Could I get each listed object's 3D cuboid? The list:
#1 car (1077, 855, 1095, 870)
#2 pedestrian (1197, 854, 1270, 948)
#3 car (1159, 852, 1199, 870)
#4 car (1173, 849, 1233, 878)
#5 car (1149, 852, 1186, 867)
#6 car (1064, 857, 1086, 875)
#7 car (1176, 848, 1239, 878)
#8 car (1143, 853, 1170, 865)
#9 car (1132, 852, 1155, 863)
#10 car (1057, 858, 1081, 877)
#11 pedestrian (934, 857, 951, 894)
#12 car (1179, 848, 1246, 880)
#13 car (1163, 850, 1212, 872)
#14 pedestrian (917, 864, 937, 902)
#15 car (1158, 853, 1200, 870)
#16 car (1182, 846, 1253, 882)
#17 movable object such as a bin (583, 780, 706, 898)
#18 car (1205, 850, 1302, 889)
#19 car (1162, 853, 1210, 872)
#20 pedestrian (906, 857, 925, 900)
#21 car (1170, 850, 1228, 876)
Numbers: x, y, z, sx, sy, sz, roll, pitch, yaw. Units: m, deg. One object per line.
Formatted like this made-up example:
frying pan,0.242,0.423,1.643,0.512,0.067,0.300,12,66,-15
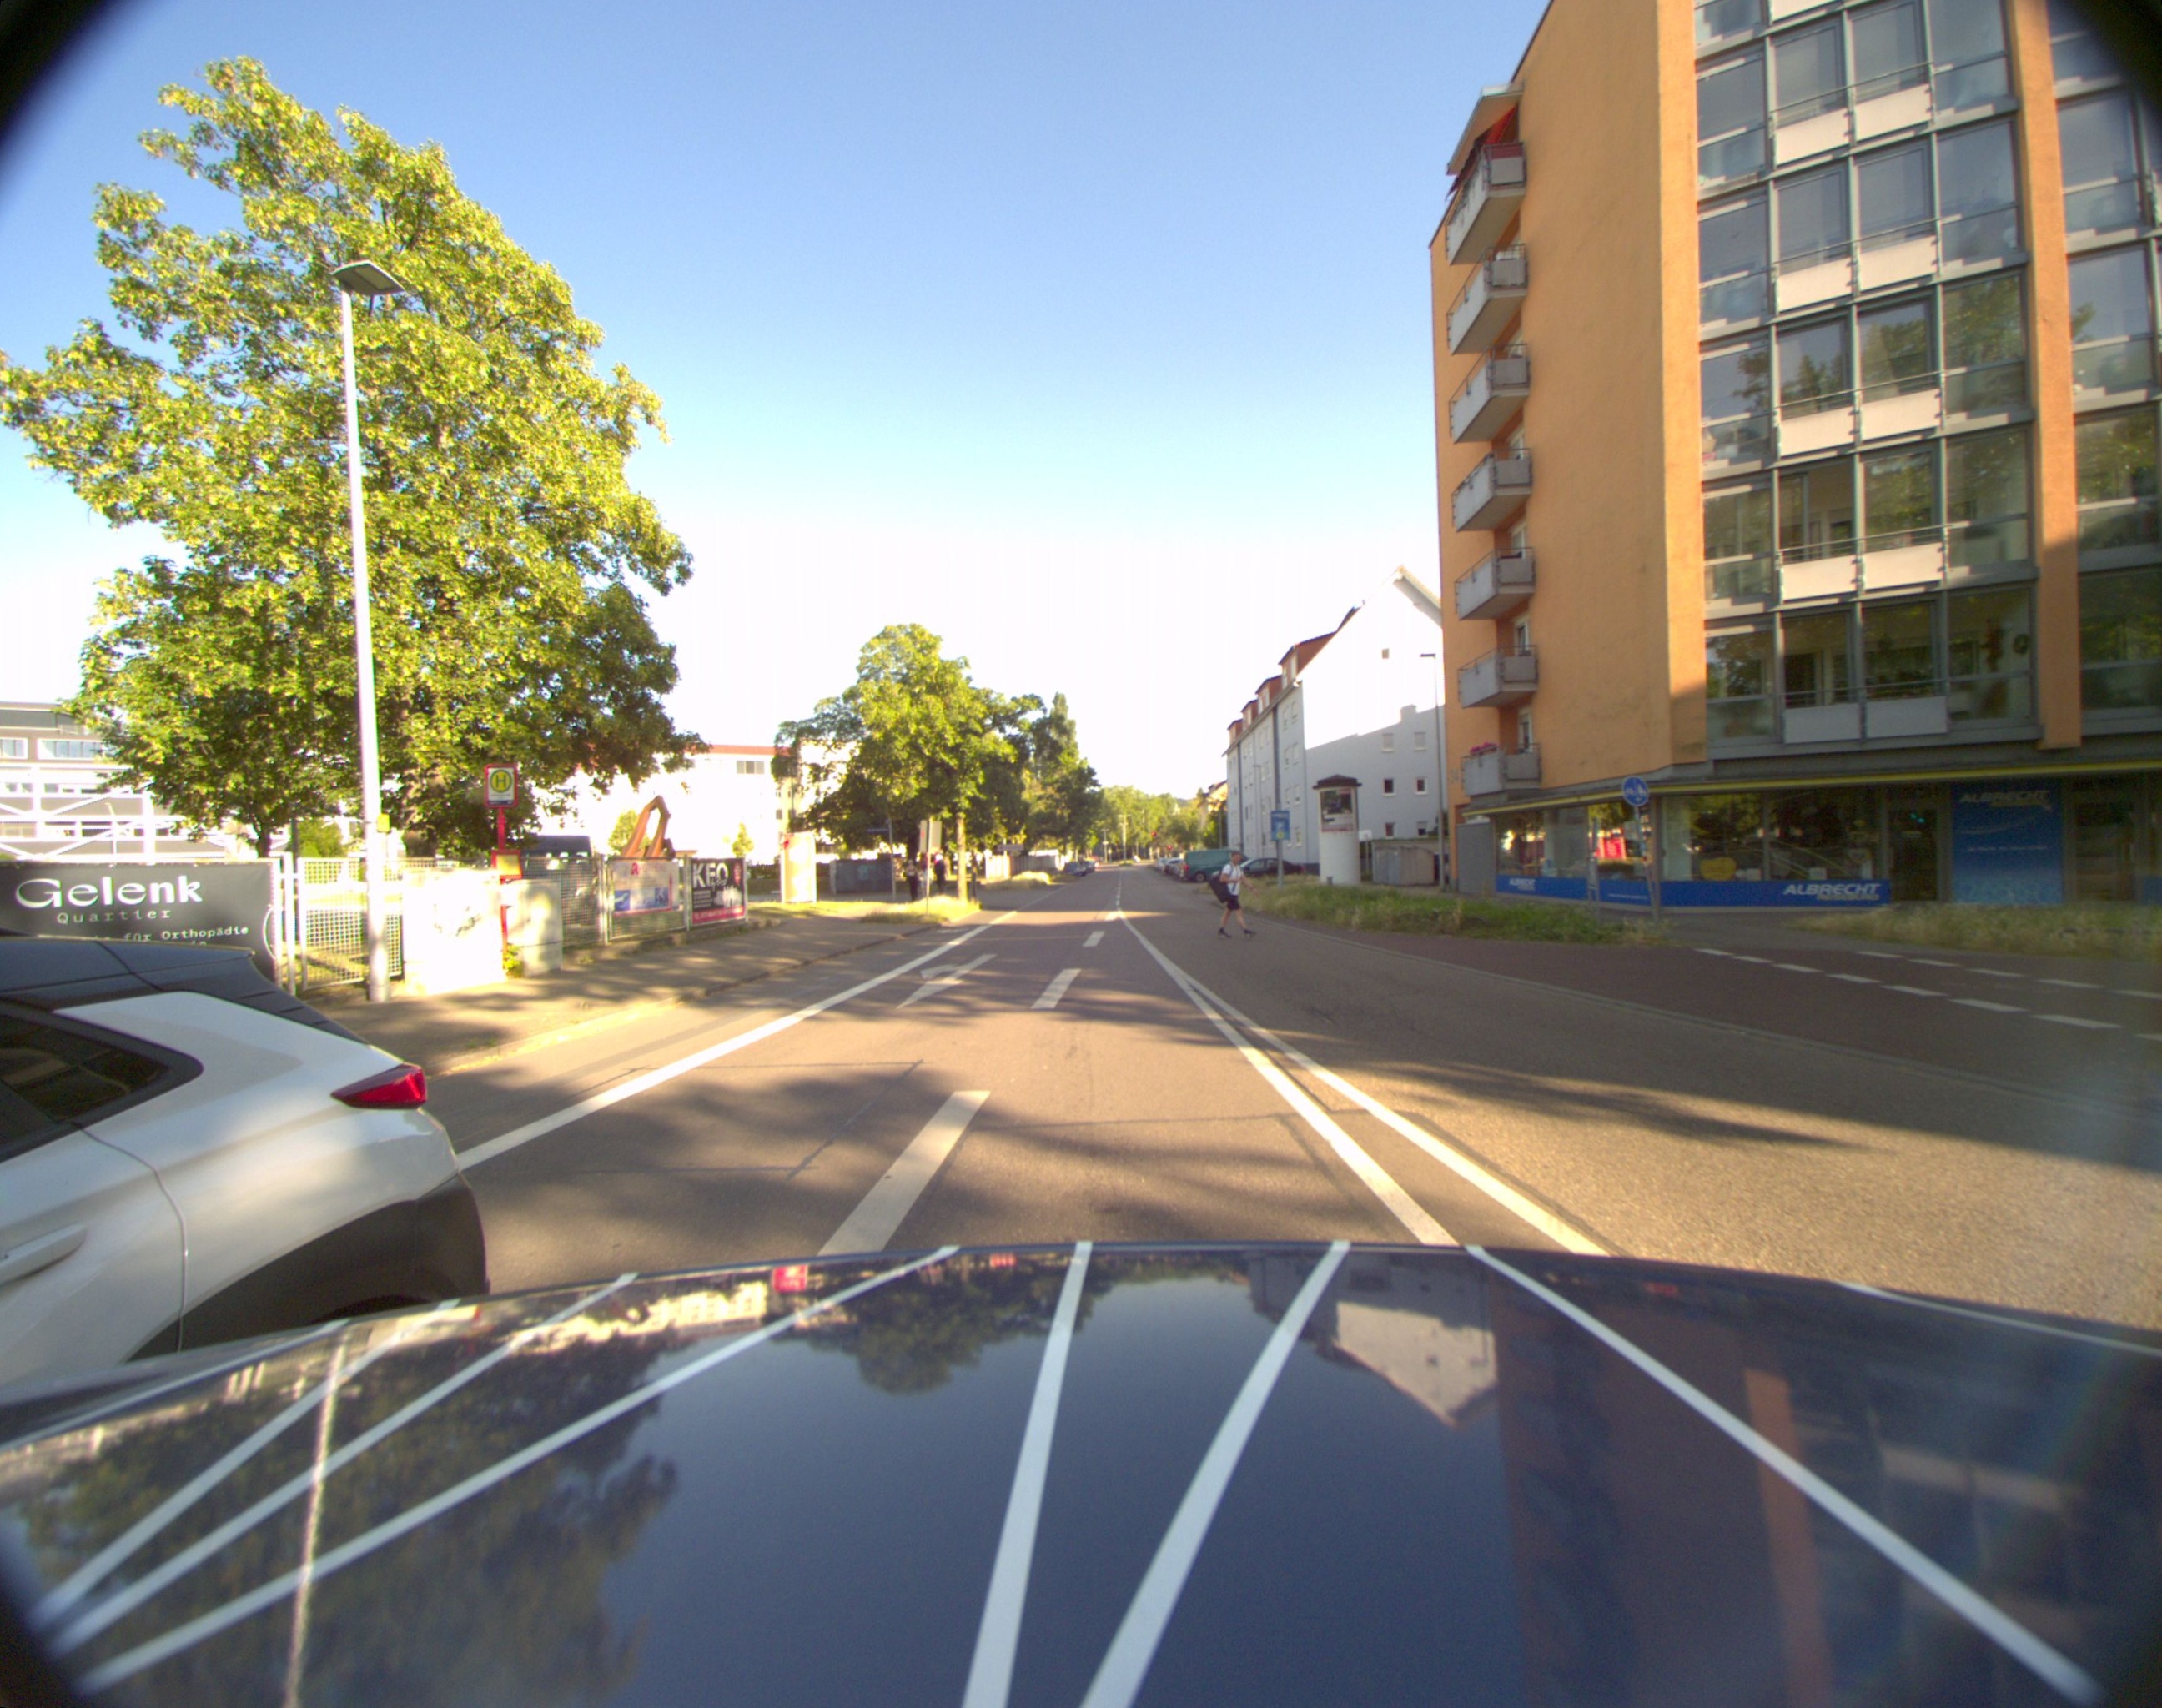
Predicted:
car,0.567,0.950,87.979,1.998,1.521,3.999,-2,1,1
pedestrian,2.954,0.873,14.798,0.903,1.727,1.086,-3,1,-21
car,10.257,0.724,80.068,4.071,1.741,1.899,-2,1,5
car,8.568,0.667,53.695,4.059,1.805,1.937,-2,1,5
car,10.221,0.644,90.192,4.257,1.564,1.867,-2,1,5
car,-0.589,1.150,73.946,1.998,1.521,3.999,-2,1,1
car,8.497,0.587,51.345,3.995,1.805,2.000,-2,1,5
car,10.465,0.702,105.244,3.538,1.564,1.867,-2,1,5
car,9.701,0.587,118.224,3.538,1.564,1.867,-2,1,5
car,-1.092,1.218,69.598,1.998,1.521,3.999,-2,1,1
pedestrian,-6.357,0.975,34.869,0.696,1.659,0.638,-2,1,-11
car,8.353,0.623,48.589,3.995,1.805,2.000,-2,1,5
car,9.272,0.607,66.489,4.117,1.762,1.757,-2,1,5
pedestrian,-6.132,1.151,30.326,0.609,1.426,0.639,-2,1,1
car,10.305,0.755,79.933,4.257,1.564,1.867,-2,1,5
car,8.191,0.593,45.941,3.996,1.936,2.000,-2,1,4
movable object such as a bin,-22.232,-0.701,38.552,3.986,5.447,6.016,-3,1,-42
car,8.294,0.731,36.876,4.423,1.652,2.001,-2,1,9
car,9.565,0.772,69.376,4.257,1.564,1.867,-2,1,5
pedestrian,-6.801,1.011,31.199,0.609,1.727,0.638,-2,1,-5
car,8.745,0.662,56.439,4.071,1.741,1.899,-2,1,5
